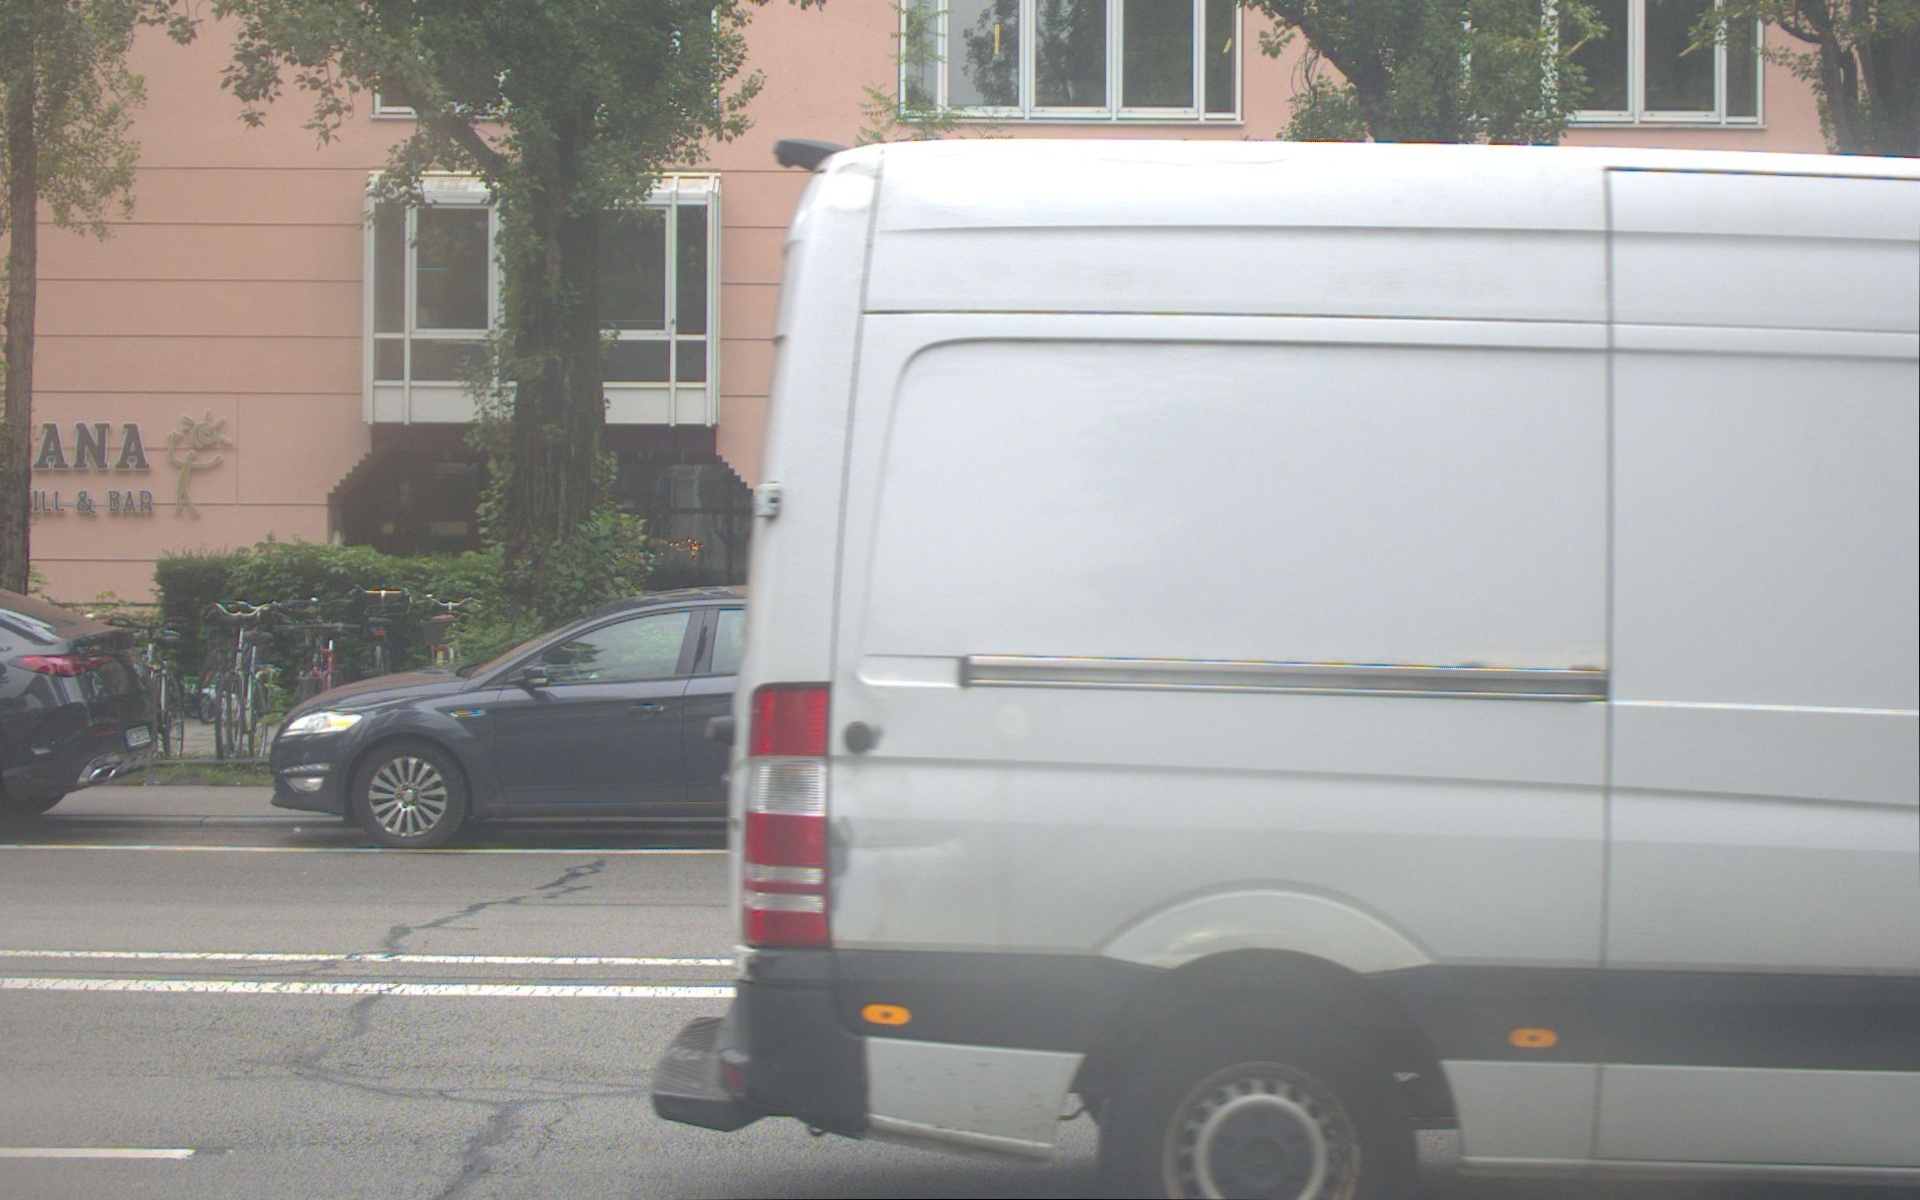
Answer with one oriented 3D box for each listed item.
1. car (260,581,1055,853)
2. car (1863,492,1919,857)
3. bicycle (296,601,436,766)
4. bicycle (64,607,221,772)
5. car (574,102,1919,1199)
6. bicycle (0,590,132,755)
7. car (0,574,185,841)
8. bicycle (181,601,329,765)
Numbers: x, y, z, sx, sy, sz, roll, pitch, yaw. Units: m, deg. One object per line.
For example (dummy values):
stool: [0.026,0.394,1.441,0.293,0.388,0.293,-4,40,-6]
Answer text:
car: [-1.763,0.677,20.867,4.608,1.523,1.794,0,1,0]
car: [8.515,0.466,20.915,5.479,2.189,2.024,0,1,0]
bicycle: [-4.334,0.587,25.200,0.674,1.120,1.989,0,1,0]
bicycle: [-5.968,0.631,25.184,0.674,1.120,1.989,0,1,0]
car: [2.181,0.229,8.378,6.021,2.642,2.047,0,2,0]
bicycle: [-6.641,0.507,25.159,0.674,1.120,1.989,0,1,0]
car: [-7.150,0.605,20.846,4.499,1.523,1.794,0,1,0]
bicycle: [-5.137,0.584,25.159,0.674,1.120,1.989,0,1,0]
